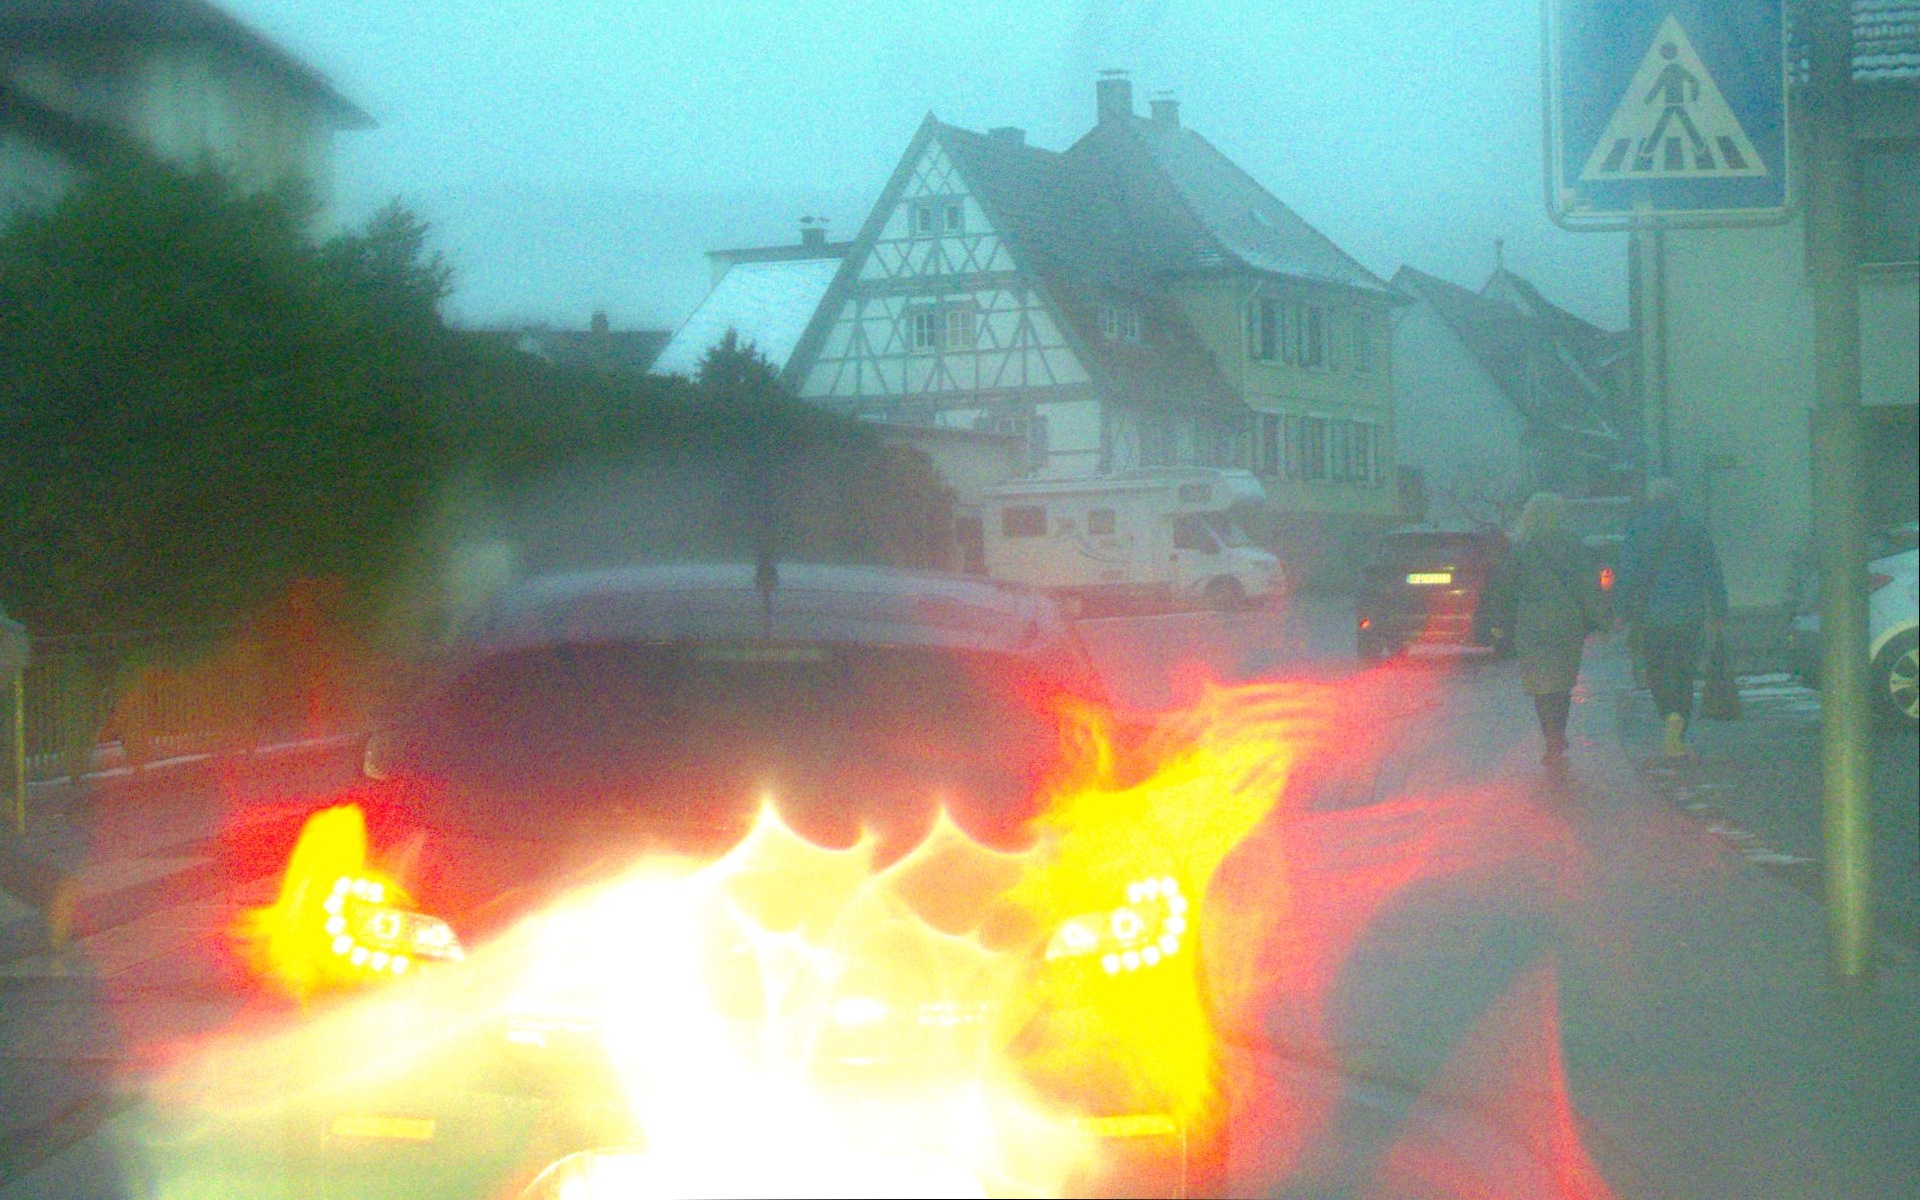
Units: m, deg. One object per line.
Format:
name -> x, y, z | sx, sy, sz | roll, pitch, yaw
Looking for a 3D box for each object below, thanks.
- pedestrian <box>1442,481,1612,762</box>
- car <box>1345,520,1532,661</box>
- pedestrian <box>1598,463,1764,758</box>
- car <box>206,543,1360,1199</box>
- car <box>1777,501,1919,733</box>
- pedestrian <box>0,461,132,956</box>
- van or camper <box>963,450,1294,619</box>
pedestrian -> 3.555, 0.120, 21.486 | 0.867, 1.661, 0.991 | -4, 1, 14
car -> 5.880, -0.149, 41.916 | 1.849, 1.631, 4.333 | 0, 1, 13
pedestrian -> 4.450, 0.056, 21.180 | 0.849, 1.727, 0.971 | -4, 1, 14
car -> -0.448, 0.625, 7.352 | 1.795, 1.471, 4.001 | 0, 1, -5
car -> 7.500, 0.027, 22.757 | 3.901, 1.469, 1.750 | -2, 1, 9
pedestrian -> -3.691, 0.382, 12.535 | 0.880, 1.729, 0.955 | -3, 1, 14
van or camper -> 3.400, -1.310, 69.503 | 6.067, 2.945, 2.404 | -4, 0, 22
